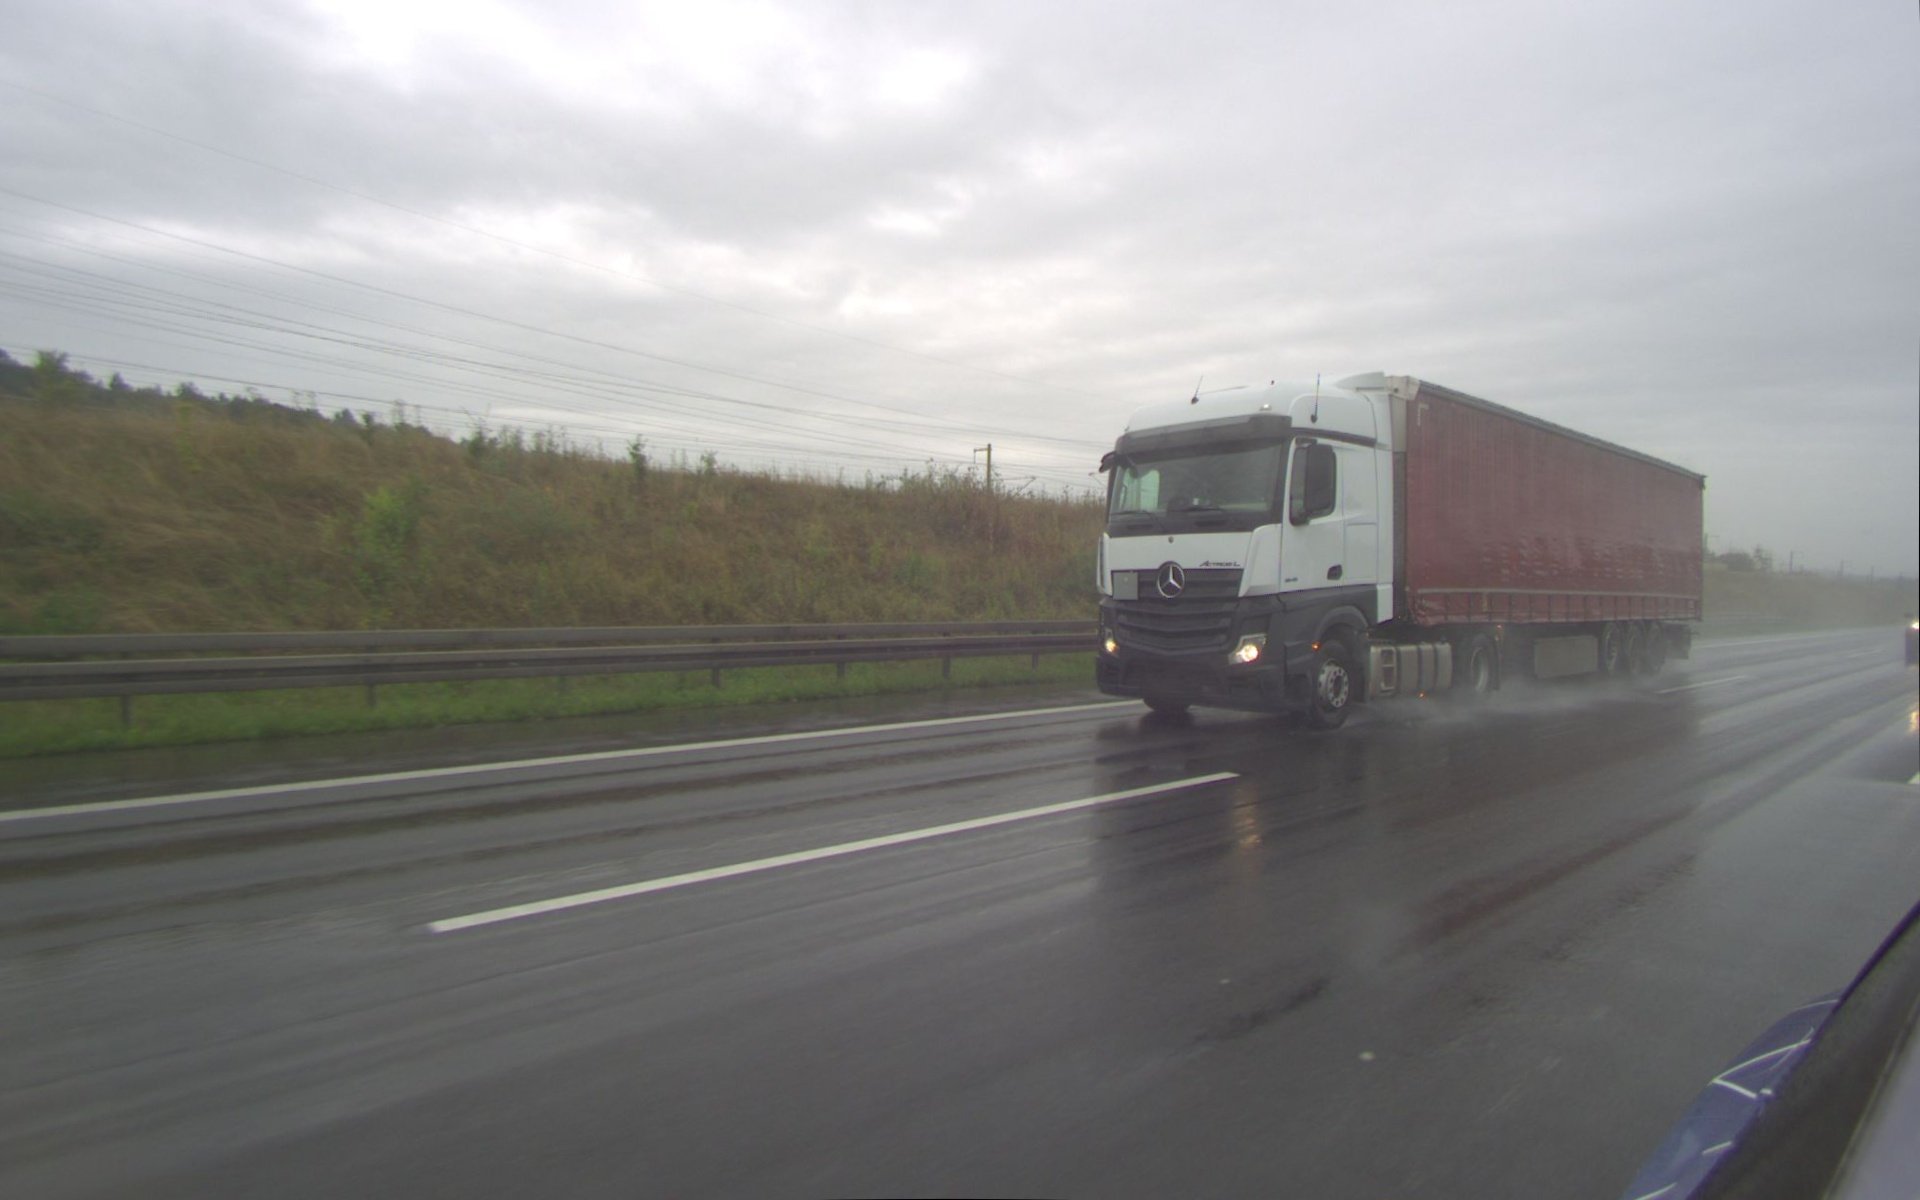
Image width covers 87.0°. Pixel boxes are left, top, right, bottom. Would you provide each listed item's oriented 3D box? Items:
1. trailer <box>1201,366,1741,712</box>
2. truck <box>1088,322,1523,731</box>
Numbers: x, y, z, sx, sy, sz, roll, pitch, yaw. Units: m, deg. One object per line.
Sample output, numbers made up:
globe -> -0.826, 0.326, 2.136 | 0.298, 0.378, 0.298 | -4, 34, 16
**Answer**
trailer -> 10.016, -0.720, 17.480 | 16.257, 3.813, 2.484 | 0, 0, -41
truck -> 4.558, -0.733, 12.679 | 6.090, 3.938, 2.456 | 0, 0, -41
